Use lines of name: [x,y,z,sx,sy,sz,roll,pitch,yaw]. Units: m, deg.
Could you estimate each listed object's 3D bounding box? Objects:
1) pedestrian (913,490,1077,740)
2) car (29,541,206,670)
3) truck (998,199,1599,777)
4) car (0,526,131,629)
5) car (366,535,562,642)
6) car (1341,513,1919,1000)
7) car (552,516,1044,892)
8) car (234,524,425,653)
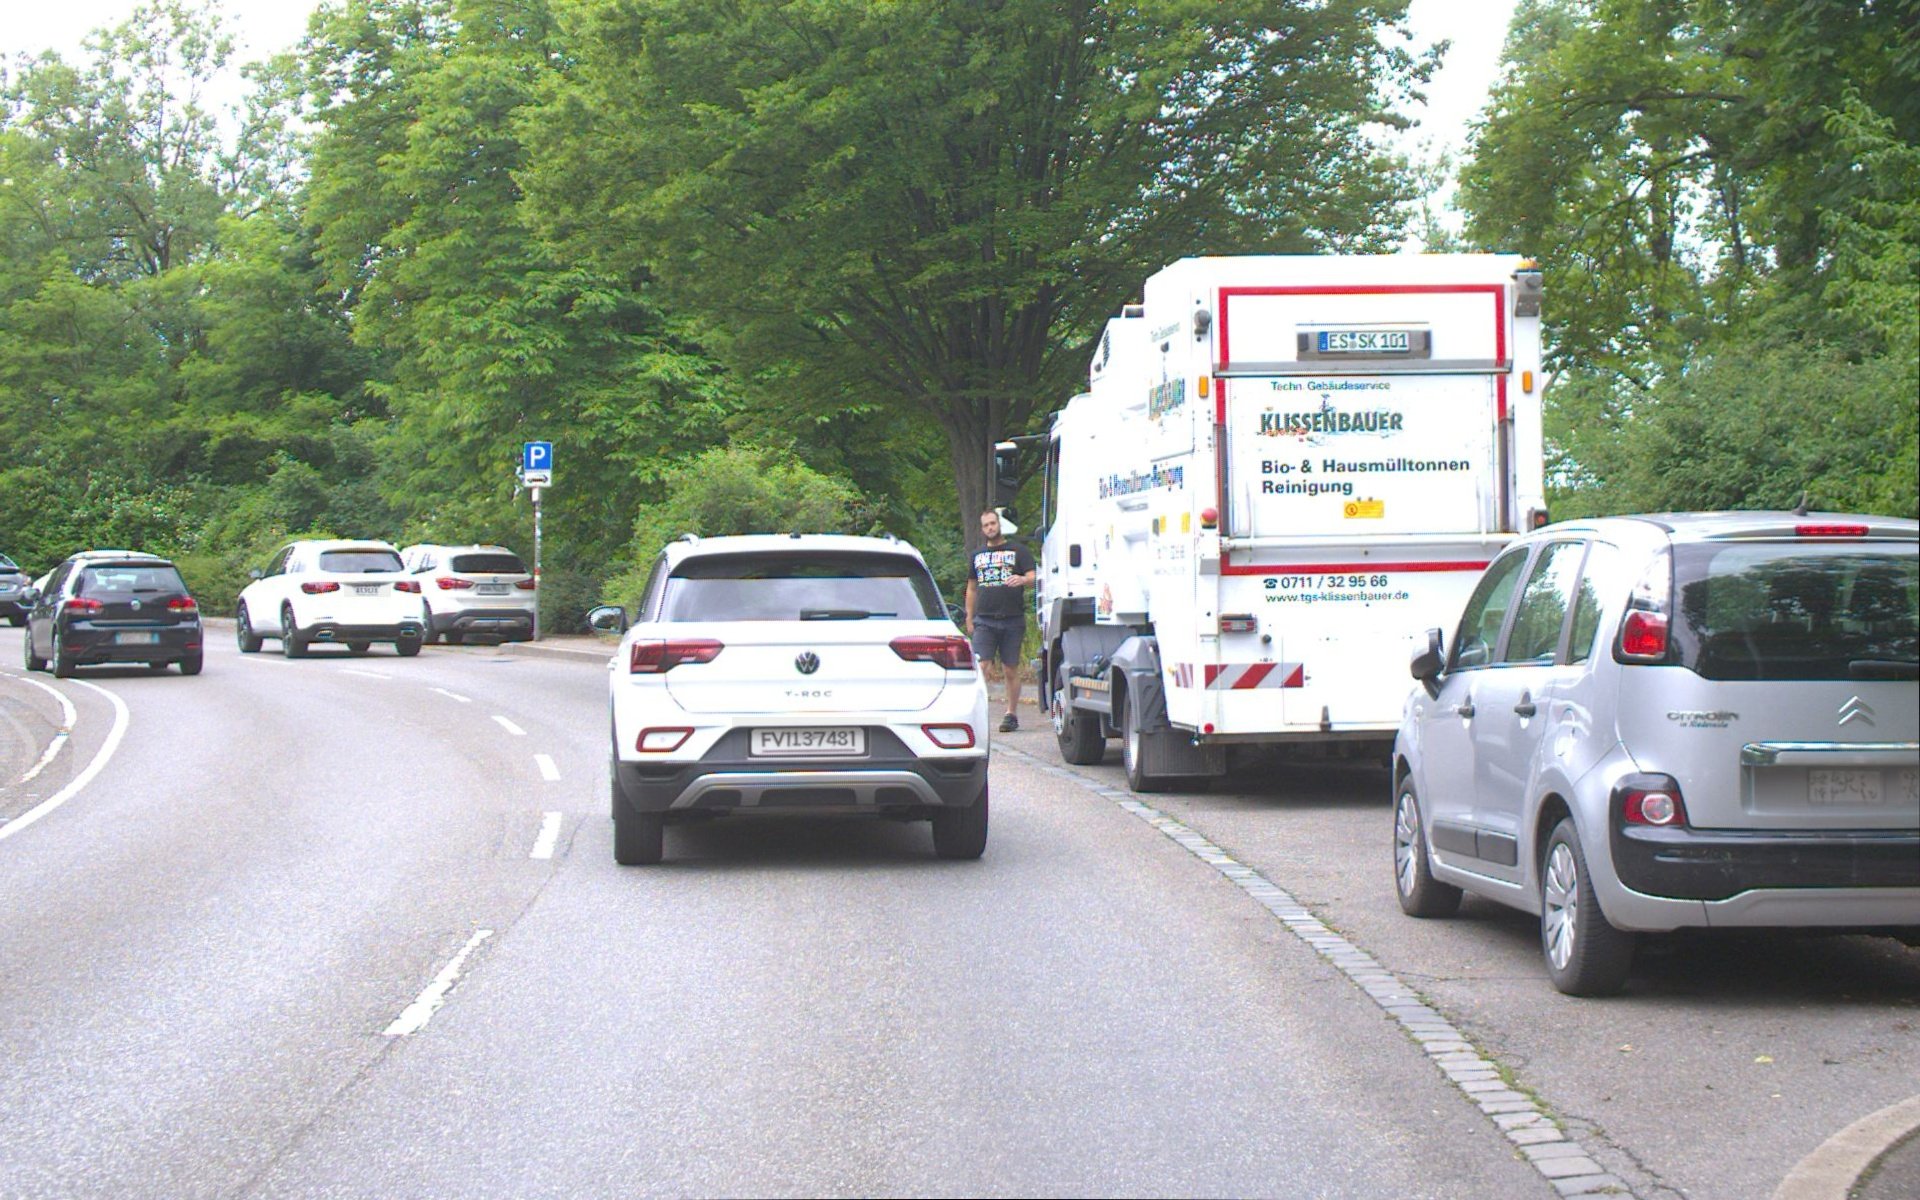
pedestrian: [0.273,0.118,27.781,0.917,1.827,0.984,13,0,-1]
car: [-10.478,0.039,42.582,1.949,1.461,4.001,1,1,-16]
truck: [1.946,-0.678,22.860,2.481,3.171,7.230,-2,1,-6]
car: [-16.835,-0.452,62.030,1.994,1.711,3.999,3,0,-40]
car: [-8.055,-0.218,55.523,1.758,1.646,4.381,0,1,-28]
car: [2.668,0.471,12.862,1.802,1.519,4.001,-1,1,-3]
car: [-0.948,0.445,17.357,2.000,1.590,4.001,3,0,-9]
car: [-8.981,-0.206,48.750,1.851,1.697,4.001,-1,2,-22]
